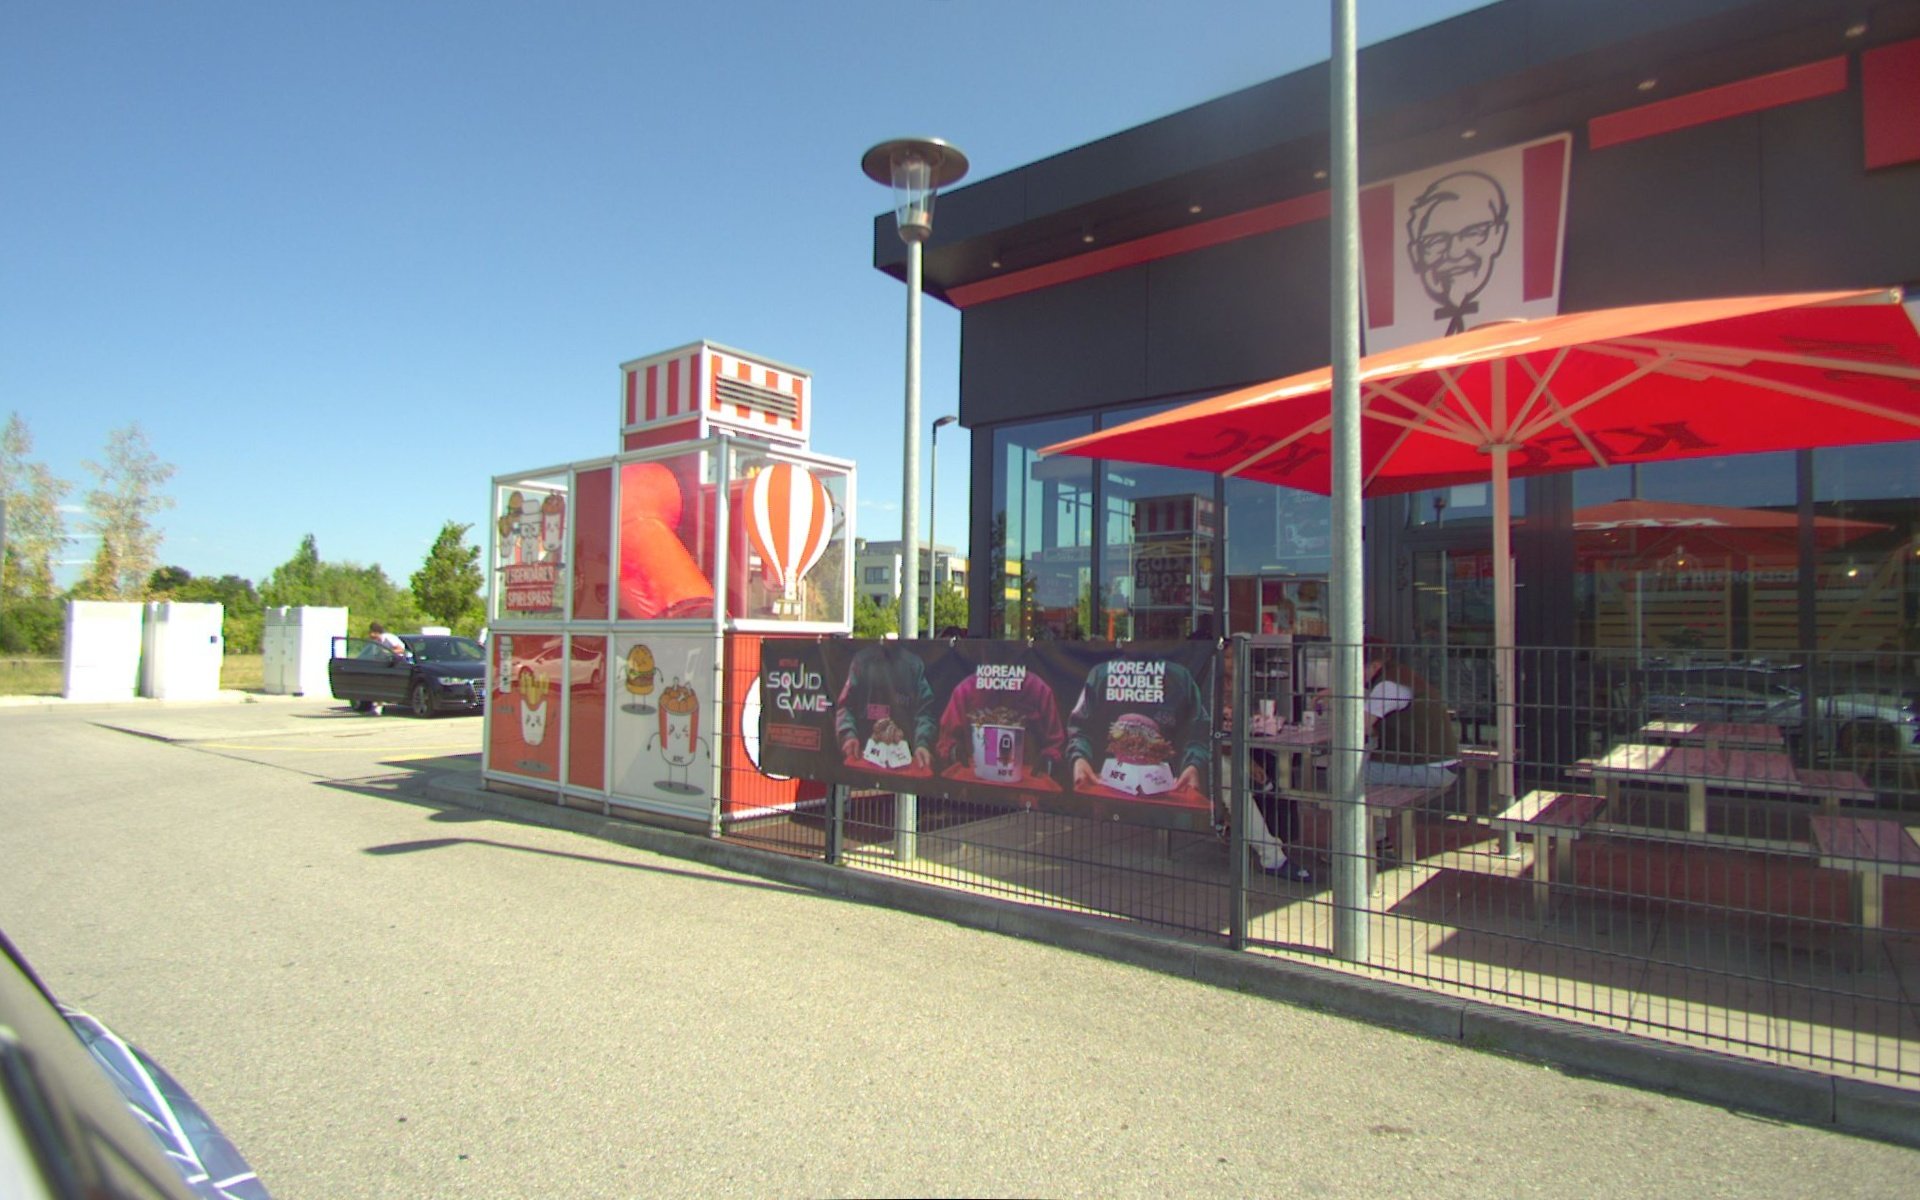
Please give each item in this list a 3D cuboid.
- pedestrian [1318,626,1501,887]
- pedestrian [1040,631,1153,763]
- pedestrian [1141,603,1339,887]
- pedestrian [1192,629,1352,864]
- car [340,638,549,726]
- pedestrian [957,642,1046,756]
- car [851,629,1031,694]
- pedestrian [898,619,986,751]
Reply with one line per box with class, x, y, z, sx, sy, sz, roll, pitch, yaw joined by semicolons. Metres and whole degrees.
pedestrian;2.482;0.804;5.600;0.655;1.314;0.713;2;-3;-43
pedestrian;1.454;0.995;10.796;0.944;1.322;0.745;-2;-3;39
pedestrian;1.520;0.734;5.527;0.655;1.398;0.808;2;-3;-43
pedestrian;1.892;0.834;6.154;0.655;1.314;0.688;2;-3;-43
car;-9.439;1.401;18.402;4.308;1.422;1.707;-2;-3;38
pedestrian;0.466;1.072;11.278;0.694;1.209;0.745;-2;-3;39
car;-0.554;1.618;26.997;4.541;1.581;1.975;-2;-3;36
pedestrian;-0.199;0.962;11.768;0.692;1.454;0.788;-2;-3;37
